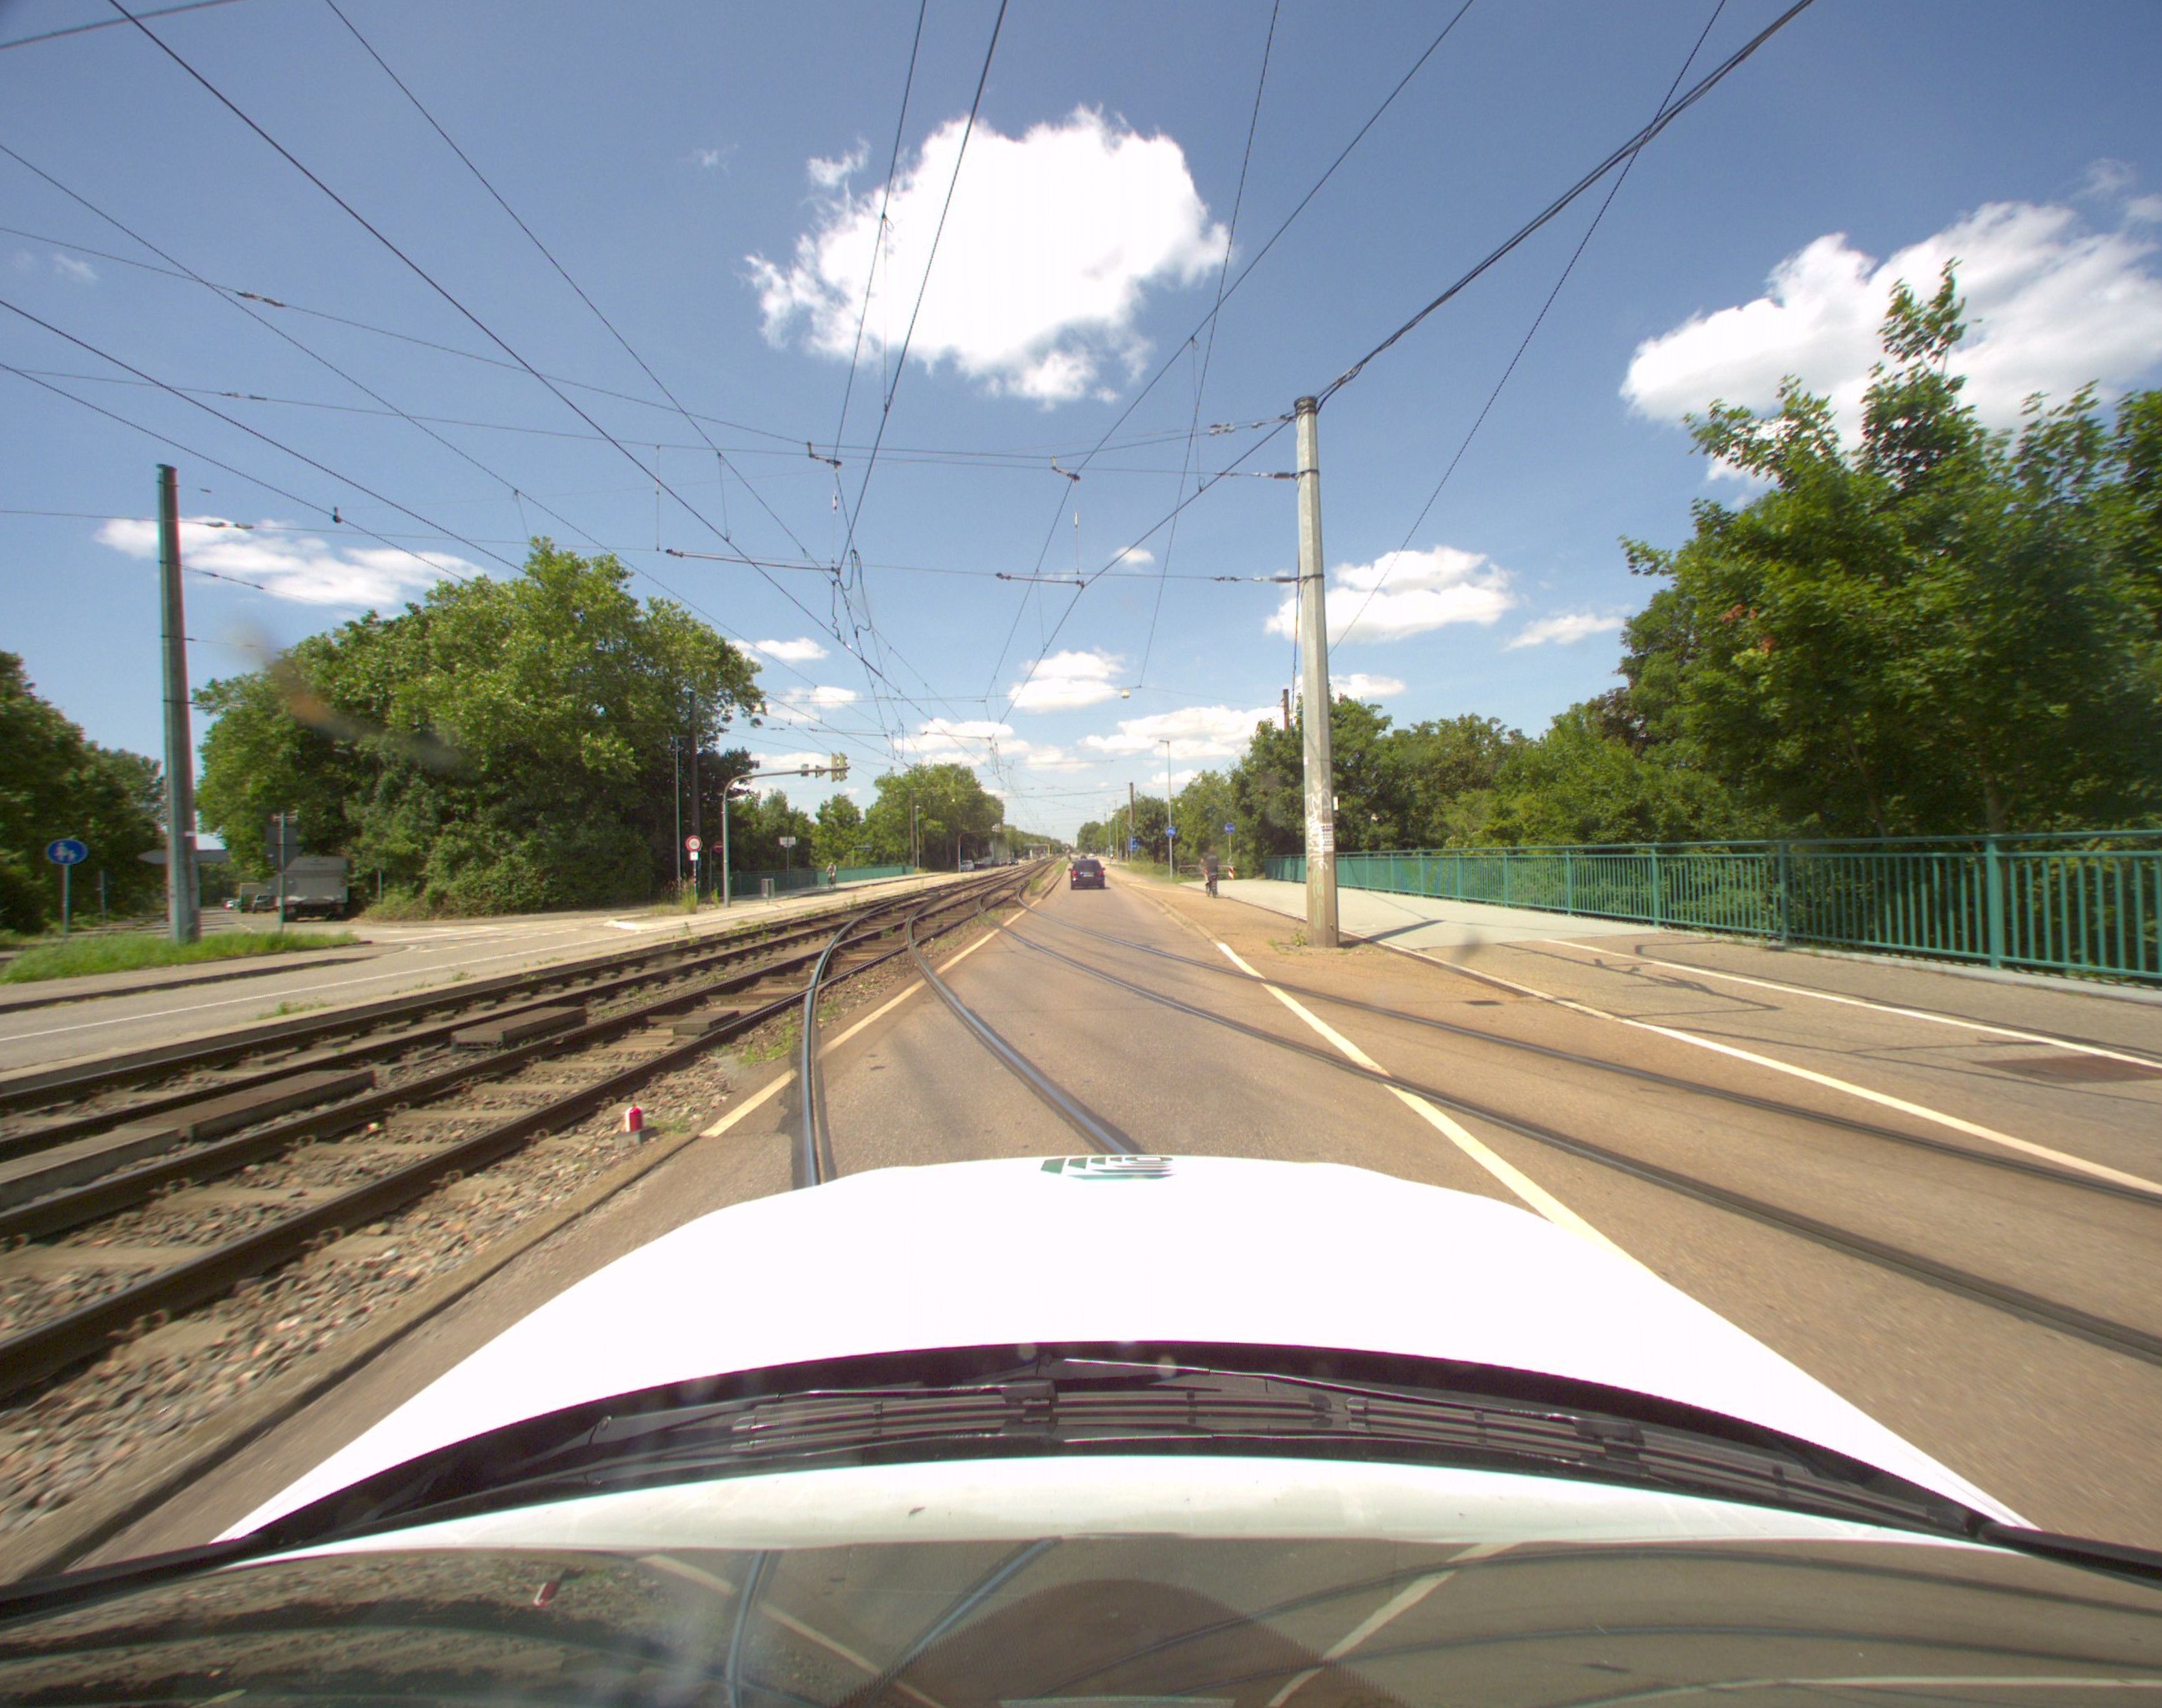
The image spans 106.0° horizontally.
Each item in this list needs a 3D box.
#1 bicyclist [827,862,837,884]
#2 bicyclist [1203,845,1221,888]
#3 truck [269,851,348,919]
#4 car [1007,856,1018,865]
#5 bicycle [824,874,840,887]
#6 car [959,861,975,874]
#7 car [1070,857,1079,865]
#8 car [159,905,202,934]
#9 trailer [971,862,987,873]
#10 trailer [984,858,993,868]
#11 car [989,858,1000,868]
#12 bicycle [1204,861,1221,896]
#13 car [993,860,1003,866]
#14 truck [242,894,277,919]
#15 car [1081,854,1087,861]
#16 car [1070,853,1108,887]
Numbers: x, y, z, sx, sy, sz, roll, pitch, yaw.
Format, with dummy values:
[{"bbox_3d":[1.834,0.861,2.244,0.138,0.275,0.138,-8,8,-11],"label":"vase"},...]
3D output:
[{"bbox_3d":[-17.008,1.315,55.648,0.454,1.474,0.633,-1,-1,2],"label":"bicyclist"},{"bbox_3d":[4.601,0.426,28.622,0.582,1.495,0.558,0,1,4],"label":"bicyclist"},{"bbox_3d":[-44.099,1.692,46.437,5.224,3.655,2.865,-2,-1,42],"label":"truck"},{"bbox_3d":[-14.267,1.331,170.035,1.870,1.720,5.327,-1,-1,-1],"label":"car"},{"bbox_3d":[-17.002,1.819,55.579,0.467,0.868,1.743,-1,-1,2],"label":"bicycle"},{"bbox_3d":[-16.821,2.001,120.512,1.715,1.630,4.613,-4,1,-2],"label":"car"},{"bbox_3d":[-1.434,1.491,179.444,1.879,1.640,4.000,2,1,0],"label":"car"},{"bbox_3d":[-69.542,5.039,62.882,3.948,2.014,2.013,-2,-1,39],"label":"car"},{"bbox_3d":[-17.039,2.227,136.220,2.458,1.889,5.951,-1,0,-5],"label":"trailer"},{"bbox_3d":[-17.760,1.727,156.656,1.606,2.013,3.911,0,0,-4],"label":"trailer"},{"bbox_3d":[-18.207,1.885,171.661,1.848,2.013,4.000,0,1,0],"label":"car"},{"bbox_3d":[4.603,0.846,28.622,0.430,1.152,1.857,0,1,4],"label":"bicycle"},{"bbox_3d":[-18.714,2.058,183.401,1.866,1.401,4.413,-1,0,-3],"label":"car"},{"bbox_3d":[-79.818,5.073,79.127,3.949,2.013,2.013,1,1,39],"label":"truck"},{"bbox_3d":[0.775,0.903,237.971,1.781,2.013,3.999,0,1,-1],"label":"car"},{"bbox_3d":[0.480,0.805,42.953,1.845,1.570,4.392,0,1,3],"label":"car"}]
